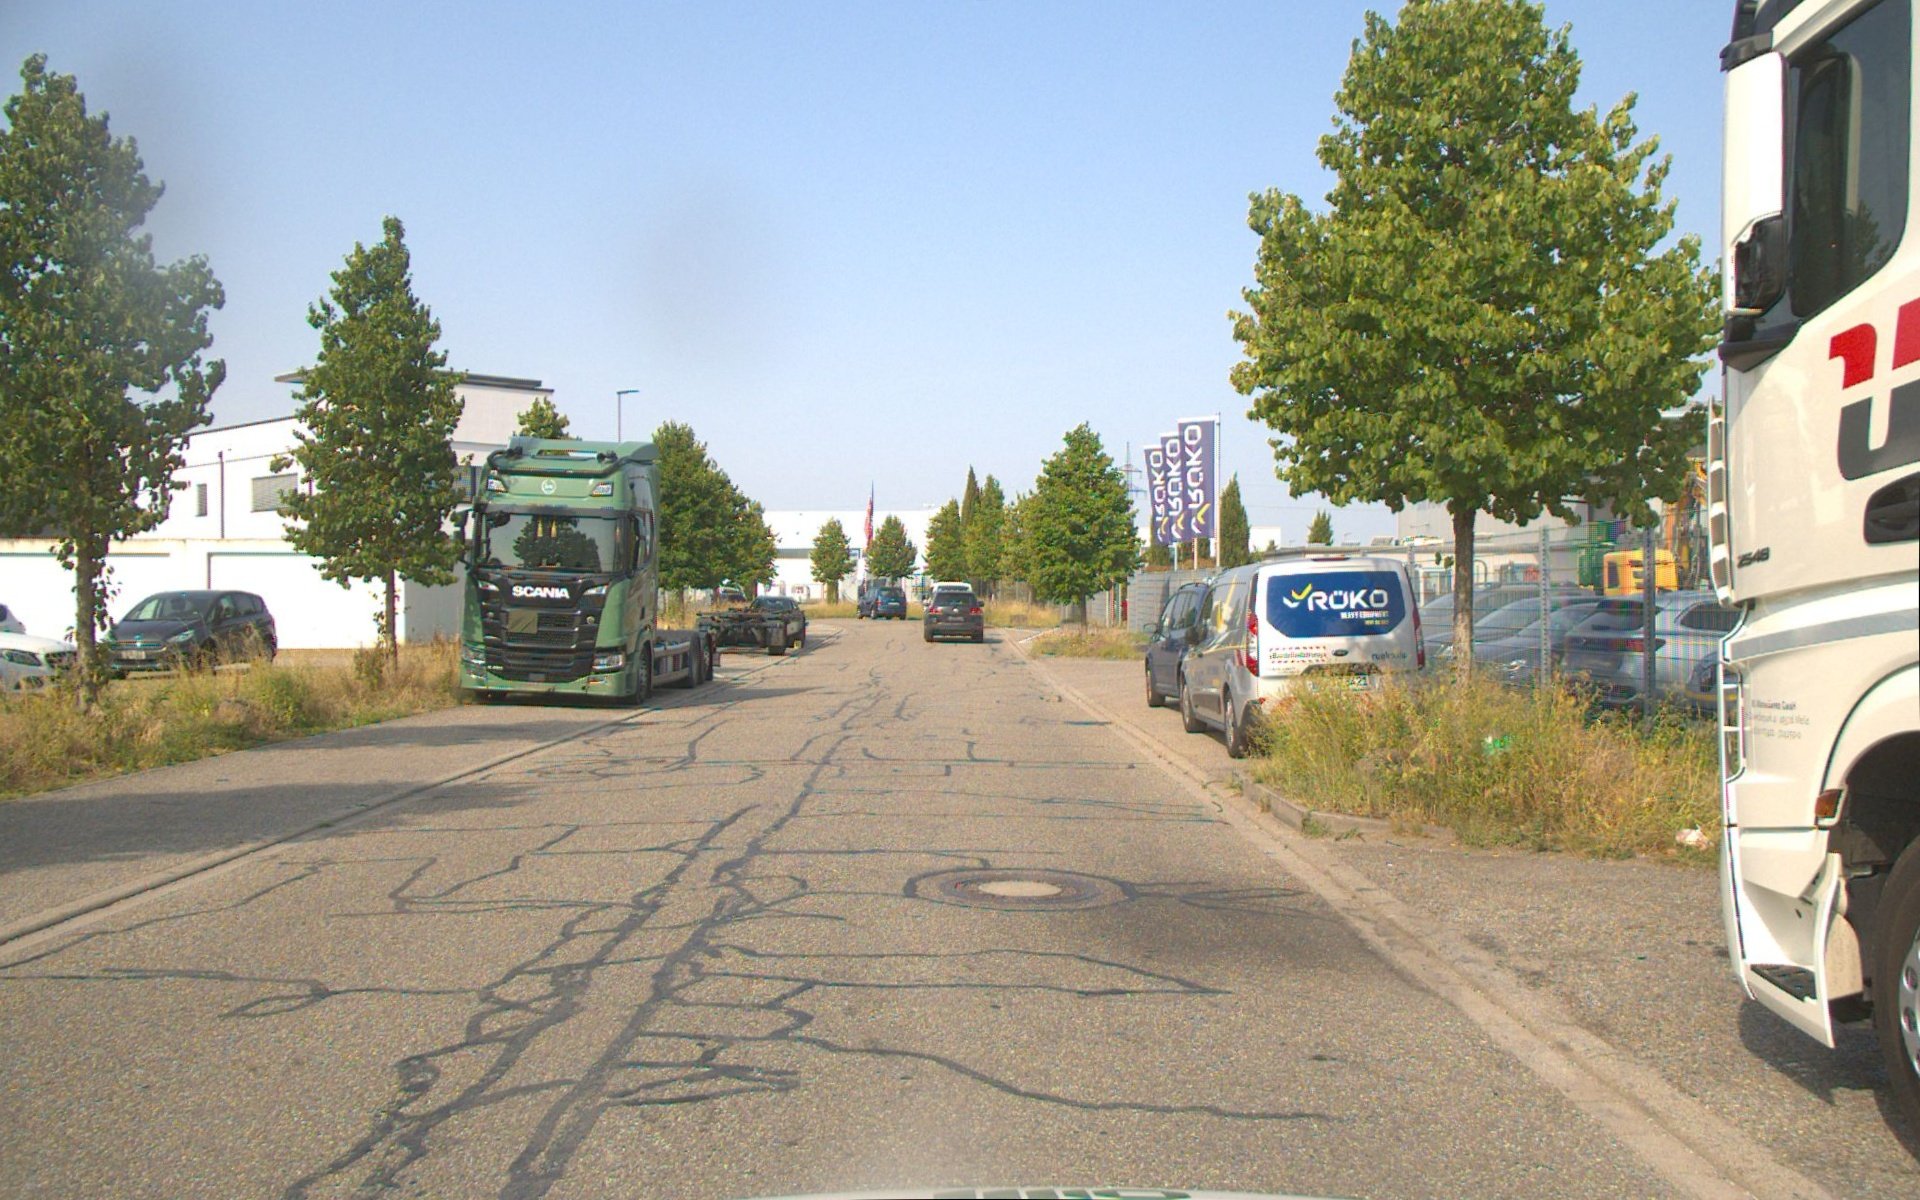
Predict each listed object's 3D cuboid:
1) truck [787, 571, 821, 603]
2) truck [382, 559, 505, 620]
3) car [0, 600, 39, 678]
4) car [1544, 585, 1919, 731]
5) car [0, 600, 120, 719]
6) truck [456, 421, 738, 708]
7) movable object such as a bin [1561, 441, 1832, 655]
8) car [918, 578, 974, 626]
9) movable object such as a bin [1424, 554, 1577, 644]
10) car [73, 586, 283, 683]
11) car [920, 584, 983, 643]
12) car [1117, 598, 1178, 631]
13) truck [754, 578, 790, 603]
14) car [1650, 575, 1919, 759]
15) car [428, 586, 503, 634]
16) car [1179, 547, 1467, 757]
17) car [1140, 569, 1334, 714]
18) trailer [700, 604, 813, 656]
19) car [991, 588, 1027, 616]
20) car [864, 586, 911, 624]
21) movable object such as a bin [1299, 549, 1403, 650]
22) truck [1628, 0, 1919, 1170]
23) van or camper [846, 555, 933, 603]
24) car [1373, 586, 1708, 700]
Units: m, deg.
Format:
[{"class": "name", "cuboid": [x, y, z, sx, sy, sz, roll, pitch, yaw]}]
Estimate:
[{"class": "truck", "cuboid": [-14.509, -1.207, 154.088, 2.400, 2.876, 8.002, 0, 0, 0]}, {"class": "truck", "cuboid": [-35.557, -0.648, 113.431, 2.615, 3.998, 12.706, 1, -1, -44]}, {"class": "car", "cuboid": [-19.747, 0.789, 31.934, 1.671, 1.542, 4.212, -1, 0, -2]}, {"class": "car", "cuboid": [8.433, 0.592, 17.431, 3.909, 1.395, 1.789, 1, 0, -5]}, {"class": "car", "cuboid": [-13.720, 0.741, 21.457, 4.628, 1.456, 2.001, 0, 0, 2]}, {"class": "truck", "cuboid": [-5.734, -0.467, 28.046, 2.405, 3.949, 9.803, 1, 0, 1]}, {"class": "movable object such as a bin", "cuboid": [18.358, -1.248, 41.935, 3.249, 4.890, 7.670, 0, 1, -2]}, {"class": "car", "cuboid": [-0.616, 0.058, 69.266, 1.955, 1.932, 4.462, 0, 0, -6]}, {"class": "movable object such as a bin", "cuboid": [16.197, -0.045, 49.936, 2.862, 2.535, 5.339, 0, 0, 0]}, {"class": "car", "cuboid": [-15.004, 0.600, 32.067, 1.953, 1.716, 4.697, -1, 0, -2]}, {"class": "car", "cuboid": [-0.275, 0.426, 54.681, 1.953, 1.836, 4.000, 1, 0, 0]}, {"class": "car", "cuboid": [8.169, 0.599, 72.461, 1.843, 1.381, 4.770, 0, 0, -4]}, {"class": "truck", "cuboid": [-17.434, -0.893, 154.099, 2.400, 2.304, 8.002, 0, 0, 0]}, {"class": "car", "cuboid": [8.484, 0.585, 14.750, 3.909, 1.503, 1.788, 1, 0, -6]}, {"class": "car", "cuboid": [-17.263, 0.307, 57.901, 1.736, 1.551, 4.299, 0, 1, -6]}, {"class": "car", "cuboid": [3.468, 0.475, 16.726, 1.952, 1.821, 4.600, 0, -1, 1]}, {"class": "car", "cuboid": [3.581, 0.518, 22.095, 1.789, 1.750, 4.247, 0, -1, -2]}, {"class": "trailer", "cuboid": [-5.752, 0.805, 47.757, 2.085, 1.254, 7.160, 1, 1, 2]}, {"class": "car", "cuboid": [3.025, 0.114, 103.168, 1.689, 1.672, 3.995, 1, 0, -6]}, {"class": "car", "cuboid": [-3.727, 0.254, 83.994, 1.956, 1.836, 3.993, 1, 0, -8]}, {"class": "movable object such as a bin", "cuboid": [11.482, -0.030, 48.919, 1.848, 2.800, 5.160, 0, 0, 0]}, {"class": "truck", "cuboid": [3.686, -0.662, 0.669, 2.690, 4.085, 9.684, -2, 1, -1]}, {"class": "van or camper", "cuboid": [-4.508, -1.257, 104.291, 2.326, 2.898, 7.263, 0, 0, -31]}, {"class": "car", "cuboid": [8.250, 0.578, 23.737, 4.141, 1.521, 1.898, 0, 1, -5]}]
